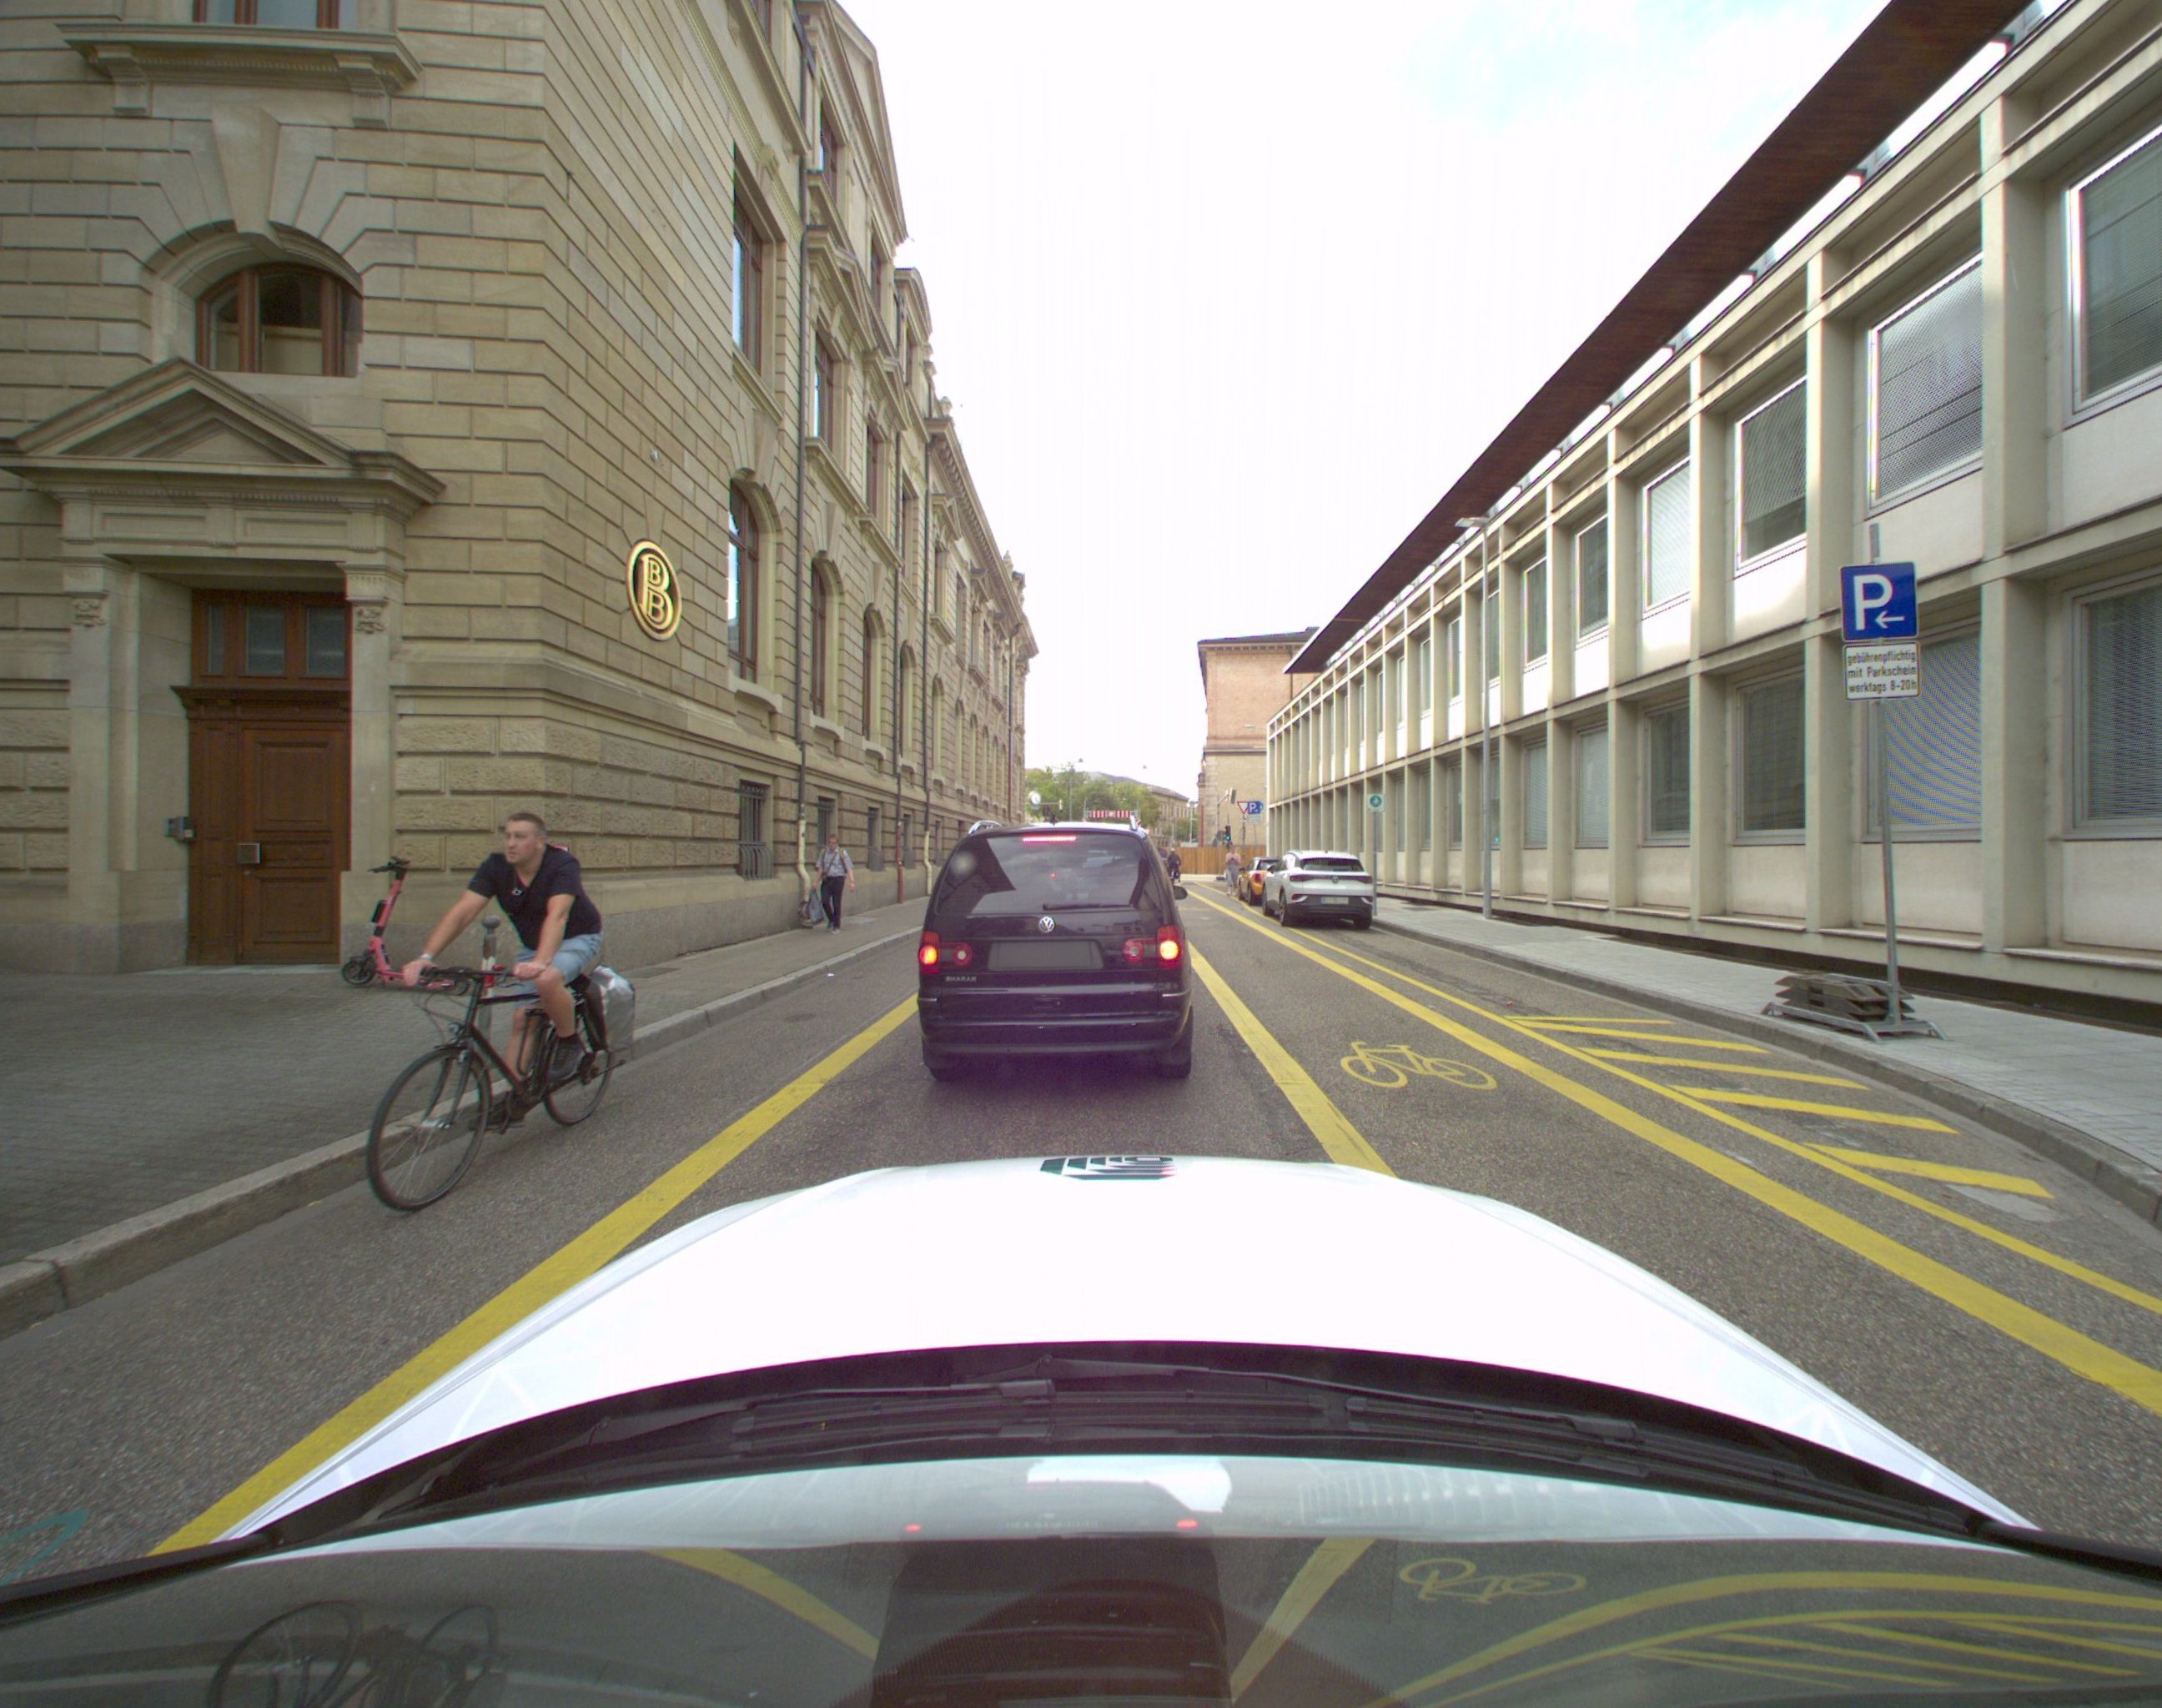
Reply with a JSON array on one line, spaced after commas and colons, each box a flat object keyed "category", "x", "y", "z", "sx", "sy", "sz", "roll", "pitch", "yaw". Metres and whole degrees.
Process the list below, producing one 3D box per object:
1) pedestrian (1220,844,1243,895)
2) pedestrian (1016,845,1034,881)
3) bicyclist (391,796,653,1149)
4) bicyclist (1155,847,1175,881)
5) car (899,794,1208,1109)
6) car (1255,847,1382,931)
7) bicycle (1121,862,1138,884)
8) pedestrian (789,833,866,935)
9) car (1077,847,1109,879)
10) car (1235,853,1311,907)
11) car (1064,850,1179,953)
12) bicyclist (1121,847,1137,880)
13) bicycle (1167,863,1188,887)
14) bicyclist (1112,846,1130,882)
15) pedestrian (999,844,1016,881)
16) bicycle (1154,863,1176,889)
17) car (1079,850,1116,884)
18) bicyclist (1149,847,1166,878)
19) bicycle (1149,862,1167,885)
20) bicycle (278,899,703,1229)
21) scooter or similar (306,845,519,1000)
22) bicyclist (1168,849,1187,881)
[{"category": "pedestrian", "x": 5.309, "y": 0.540, "z": 28.727, "sx": 0.701, "sy": 1.764, "sz": 0.700, "roll": 0, "pitch": -1, "yaw": 1}, {"category": "pedestrian", "x": -2.894, "y": 0.440, "z": 42.120, "sx": 0.789, "sy": 1.819, "sz": 1.048, "roll": 2, "pitch": -1, "yaw": 2}, {"category": "bicyclist", "x": -2.912, "y": 0.568, "z": 4.343, "sx": 0.640, "sy": 1.654, "sz": 0.941, "roll": -3, "pitch": -1, "yaw": 6}, {"category": "bicyclist", "x": 3.444, "y": 0.414, "z": 33.501, "sx": 0.732, "sy": 1.377, "sz": 0.829, "roll": 0, "pitch": -1, "yaw": 1}, {"category": "car", "x": 0.003, "y": 0.564, "z": 6.742, "sx": 1.781, "sy": 1.790, "sz": 4.108, "roll": 0, "pitch": 0, "yaw": 5}, {"category": "car", "x": 5.231, "y": 0.711, "z": 18.534, "sx": 1.851, "sy": 1.605, "sz": 4.518, "roll": 3, "pitch": 0, "yaw": 5}, {"category": "bicycle", "x": 2.321, "y": 0.919, "z": 39.218, "sx": 0.732, "sy": 1.009, "sz": 2.069, "roll": 0, "pitch": -1, "yaw": 2}, {"category": "pedestrian", "x": -4.506, "y": 0.522, "z": 14.541, "sx": 1.022, "sy": 1.720, "sz": 0.819, "roll": 2, "pitch": -1, "yaw": 1}, {"category": "car", "x": 0.658, "y": 0.522, "z": 47.420, "sx": 1.729, "sy": 1.790, "sz": 4.101, "roll": 0, "pitch": 0, "yaw": -1}, {"category": "car", "x": 5.807, "y": 0.744, "z": 25.019, "sx": 1.672, "sy": 1.435, "sz": 3.891, "roll": 3, "pitch": 0, "yaw": 5}, {"category": "car", "x": 0.754, "y": 0.697, "z": 13.844, "sx": 1.670, "sy": 1.469, "sz": 4.108, "roll": 0, "pitch": 0, "yaw": 5}, {"category": "bicyclist", "x": 2.316, "y": 0.457, "z": 39.248, "sx": 0.732, "sy": 1.611, "sz": 0.695, "roll": 0, "pitch": -1, "yaw": 1}, {"category": "bicycle", "x": 4.212, "y": 0.898, "z": 35.688, "sx": 0.732, "sy": 1.009, "sz": 2.069, "roll": 0, "pitch": -1, "yaw": 2}, {"category": "bicyclist", "x": 1.674, "y": 0.419, "z": 34.196, "sx": 0.732, "sy": 1.478, "sz": 0.885, "roll": 0, "pitch": -1, "yaw": 1}, {"category": "pedestrian", "x": -3.687, "y": 0.437, "z": 40.955, "sx": 0.661, "sy": 1.819, "sz": 1.048, "roll": 2, "pitch": -1, "yaw": 2}, {"category": "bicycle", "x": 3.442, "y": 0.875, "z": 33.460, "sx": 0.732, "sy": 1.009, "sz": 2.069, "roll": 0, "pitch": -1, "yaw": 2}, {"category": "car", "x": 0.838, "y": 0.637, "z": 40.405, "sx": 1.766, "sy": 1.586, "sz": 4.001, "roll": 0, "pitch": -1, "yaw": 2}, {"category": "bicyclist", "x": 3.597, "y": 0.400, "z": 38.156, "sx": 0.732, "sy": 1.470, "sz": 0.809, "roll": 0, "pitch": -1, "yaw": 1}, {"category": "bicycle", "x": 3.596, "y": 0.901, "z": 38.225, "sx": 0.732, "sy": 1.009, "sz": 2.069, "roll": 0, "pitch": -1, "yaw": 2}, {"category": "bicycle", "x": -2.896, "y": 0.924, "z": 4.332, "sx": 0.643, "sy": 1.241, "sz": 1.956, "roll": -3, "pitch": -1, "yaw": 6}, {"category": "scooter or similar", "x": -6.181, "y": 0.612, "z": 7.575, "sx": 1.441, "sy": 1.310, "sz": 0.587, "roll": 3, "pitch": 1, "yaw": 0}, {"category": "bicyclist", "x": 4.209, "y": 0.494, "z": 35.599, "sx": 0.732, "sy": 1.375, "sz": 0.832, "roll": 0, "pitch": -1, "yaw": 1}]
